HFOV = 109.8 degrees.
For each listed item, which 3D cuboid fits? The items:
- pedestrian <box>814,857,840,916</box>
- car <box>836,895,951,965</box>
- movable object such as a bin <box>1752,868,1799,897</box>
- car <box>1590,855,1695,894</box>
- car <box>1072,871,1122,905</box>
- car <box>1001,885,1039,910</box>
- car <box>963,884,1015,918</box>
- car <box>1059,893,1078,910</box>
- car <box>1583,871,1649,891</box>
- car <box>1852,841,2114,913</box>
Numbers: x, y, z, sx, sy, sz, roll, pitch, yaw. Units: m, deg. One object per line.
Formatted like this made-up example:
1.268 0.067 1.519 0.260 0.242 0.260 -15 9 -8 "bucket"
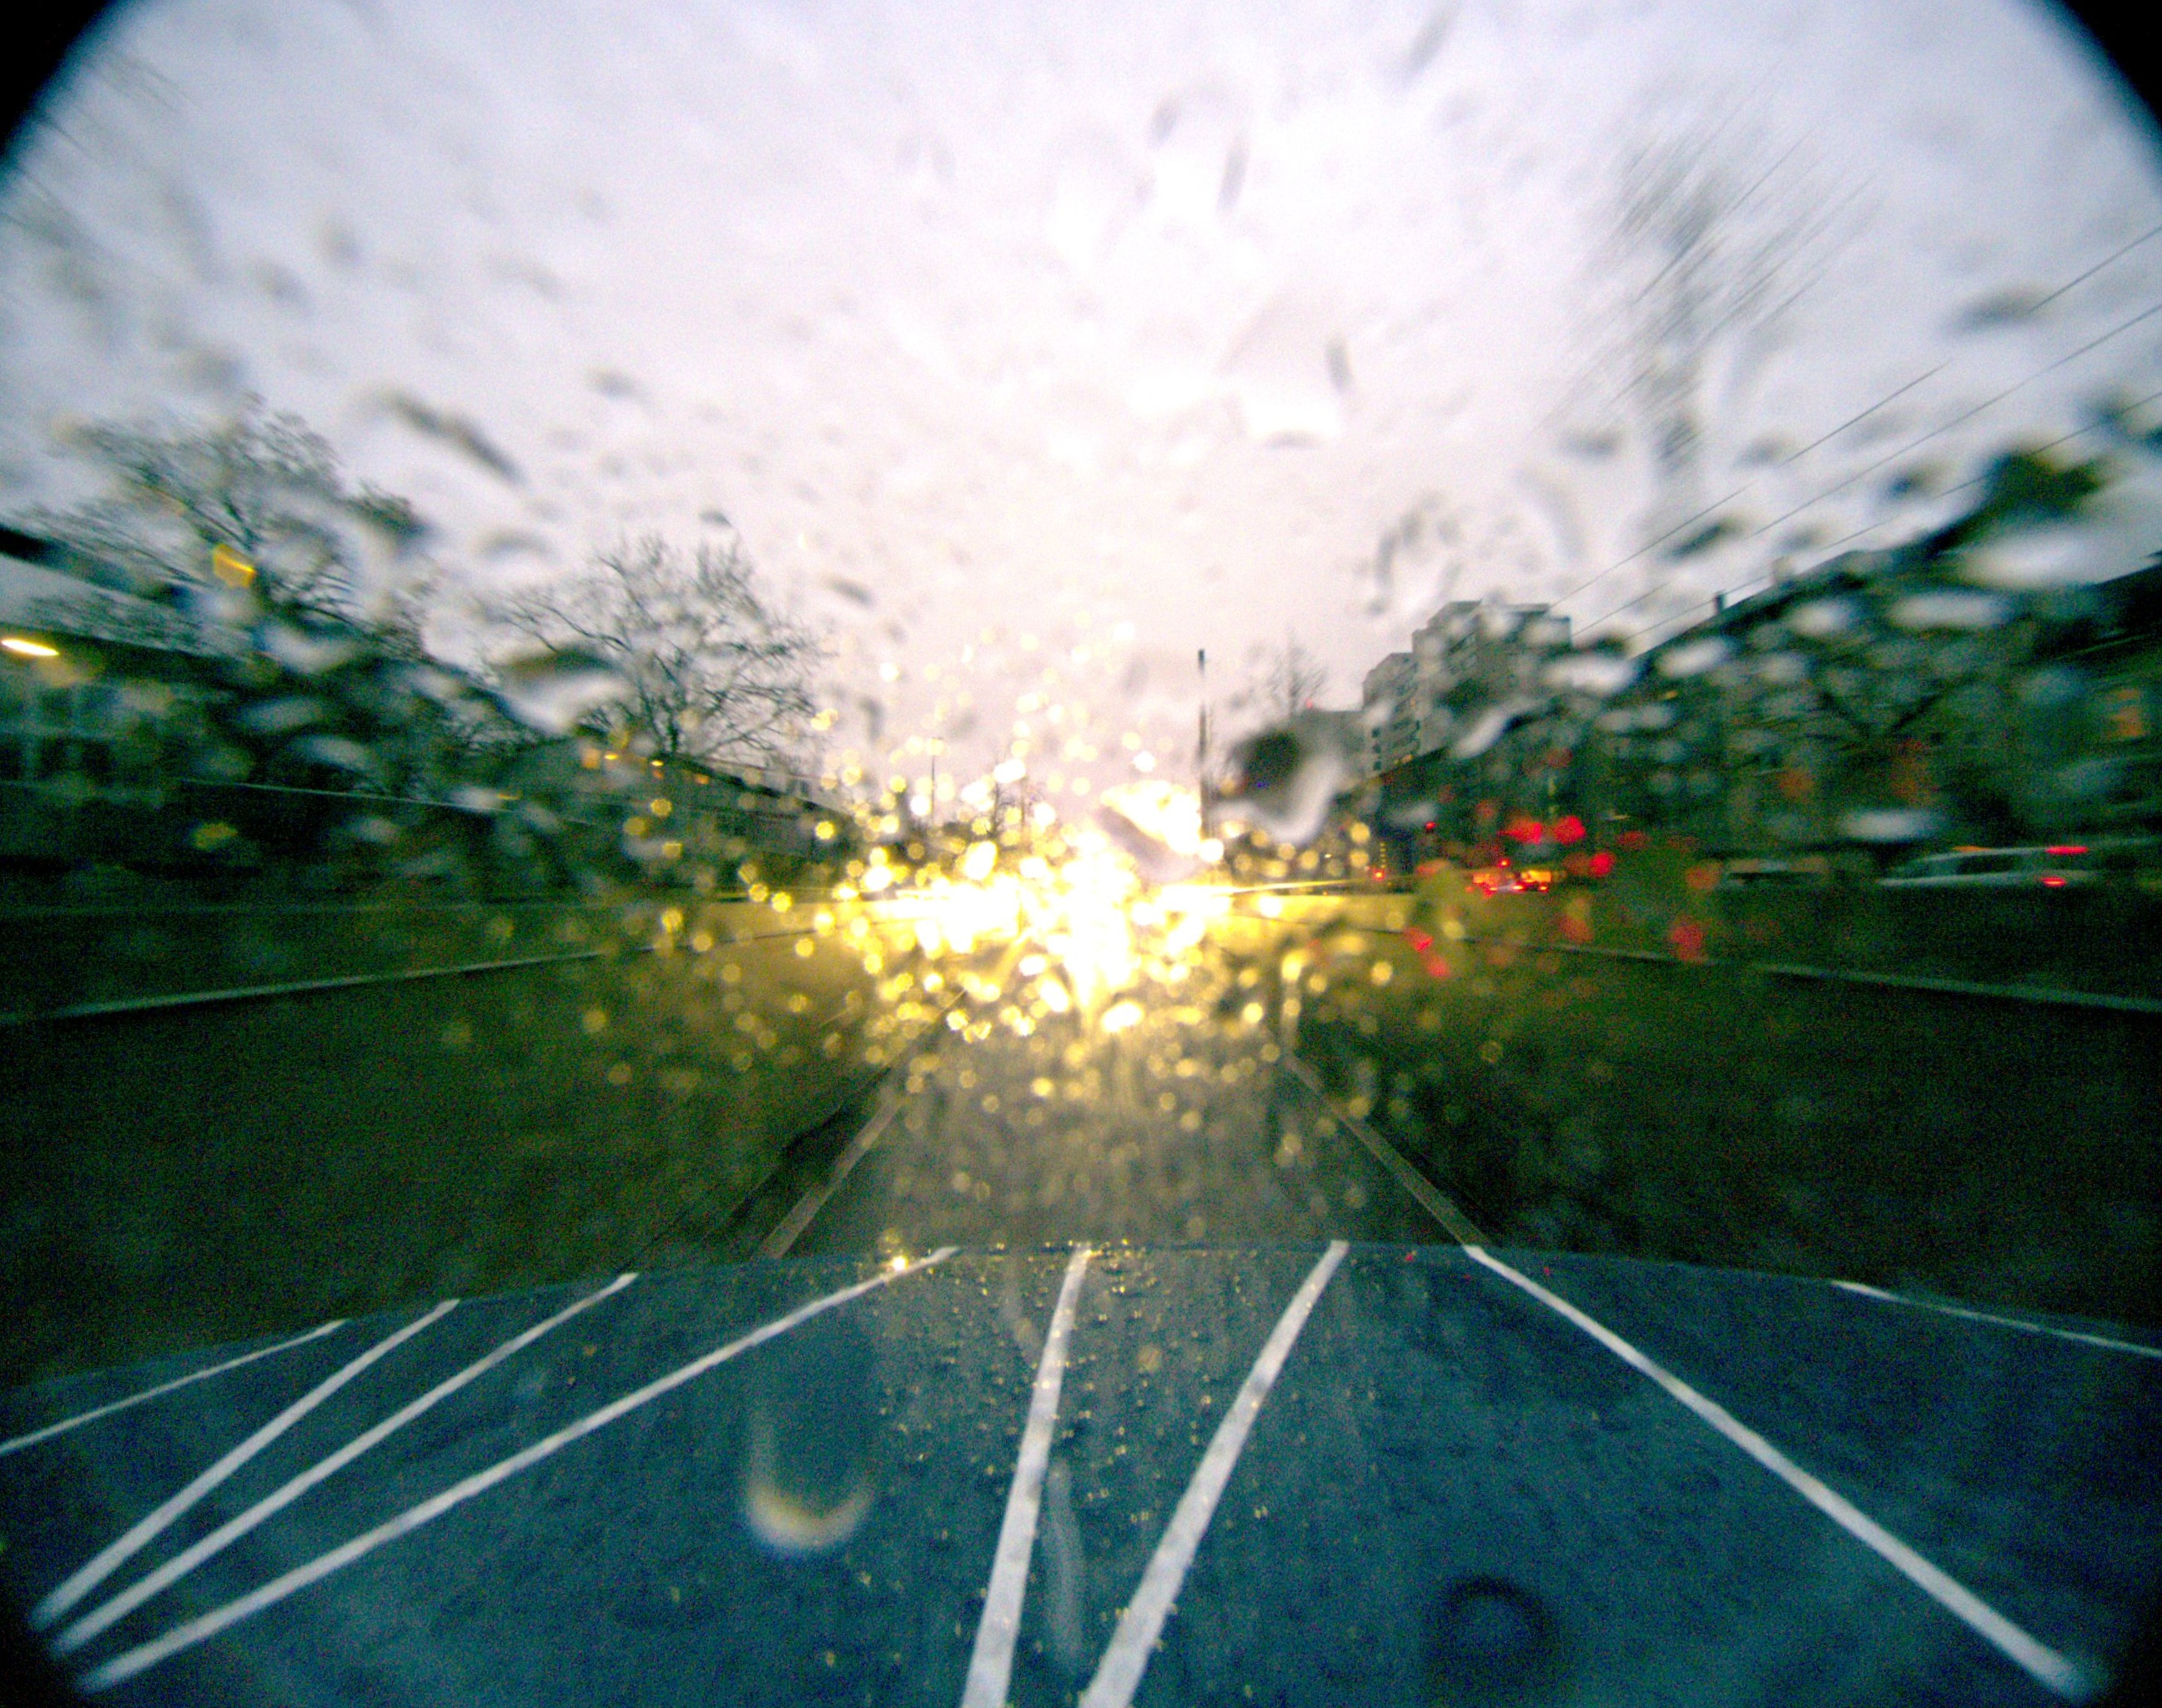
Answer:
-8.264 1.057 24.770 0.533 1.868 0.901 -1 -3 0 "pedestrian"
-4.660 1.855 19.522 1.726 1.470 4.002 -3 -2 3 "car"
36.376 1.492 39.811 1.110 1.471 1.425 0 -3 0 "movable object such as a bin"
25.912 1.007 35.260 1.998 1.682 4.115 -1 -3 5 "car"
0.800 1.592 35.863 2.160 1.489 4.010 -1 -2 2 "car"
-3.863 2.752 48.747 1.778 1.452 4.043 -1 -2 4 "car"
-4.474 2.281 37.609 1.791 1.492 4.969 -1 -2 2 "car"
-1.327 5.126 81.870 1.678 1.738 3.867 -1 -3 2 "car"
42.353 2.157 60.206 3.835 1.542 1.779 -1 -3 1 "car"
26.836 0.755 22.960 1.999 1.920 4.914 0 -3 0 "car"
